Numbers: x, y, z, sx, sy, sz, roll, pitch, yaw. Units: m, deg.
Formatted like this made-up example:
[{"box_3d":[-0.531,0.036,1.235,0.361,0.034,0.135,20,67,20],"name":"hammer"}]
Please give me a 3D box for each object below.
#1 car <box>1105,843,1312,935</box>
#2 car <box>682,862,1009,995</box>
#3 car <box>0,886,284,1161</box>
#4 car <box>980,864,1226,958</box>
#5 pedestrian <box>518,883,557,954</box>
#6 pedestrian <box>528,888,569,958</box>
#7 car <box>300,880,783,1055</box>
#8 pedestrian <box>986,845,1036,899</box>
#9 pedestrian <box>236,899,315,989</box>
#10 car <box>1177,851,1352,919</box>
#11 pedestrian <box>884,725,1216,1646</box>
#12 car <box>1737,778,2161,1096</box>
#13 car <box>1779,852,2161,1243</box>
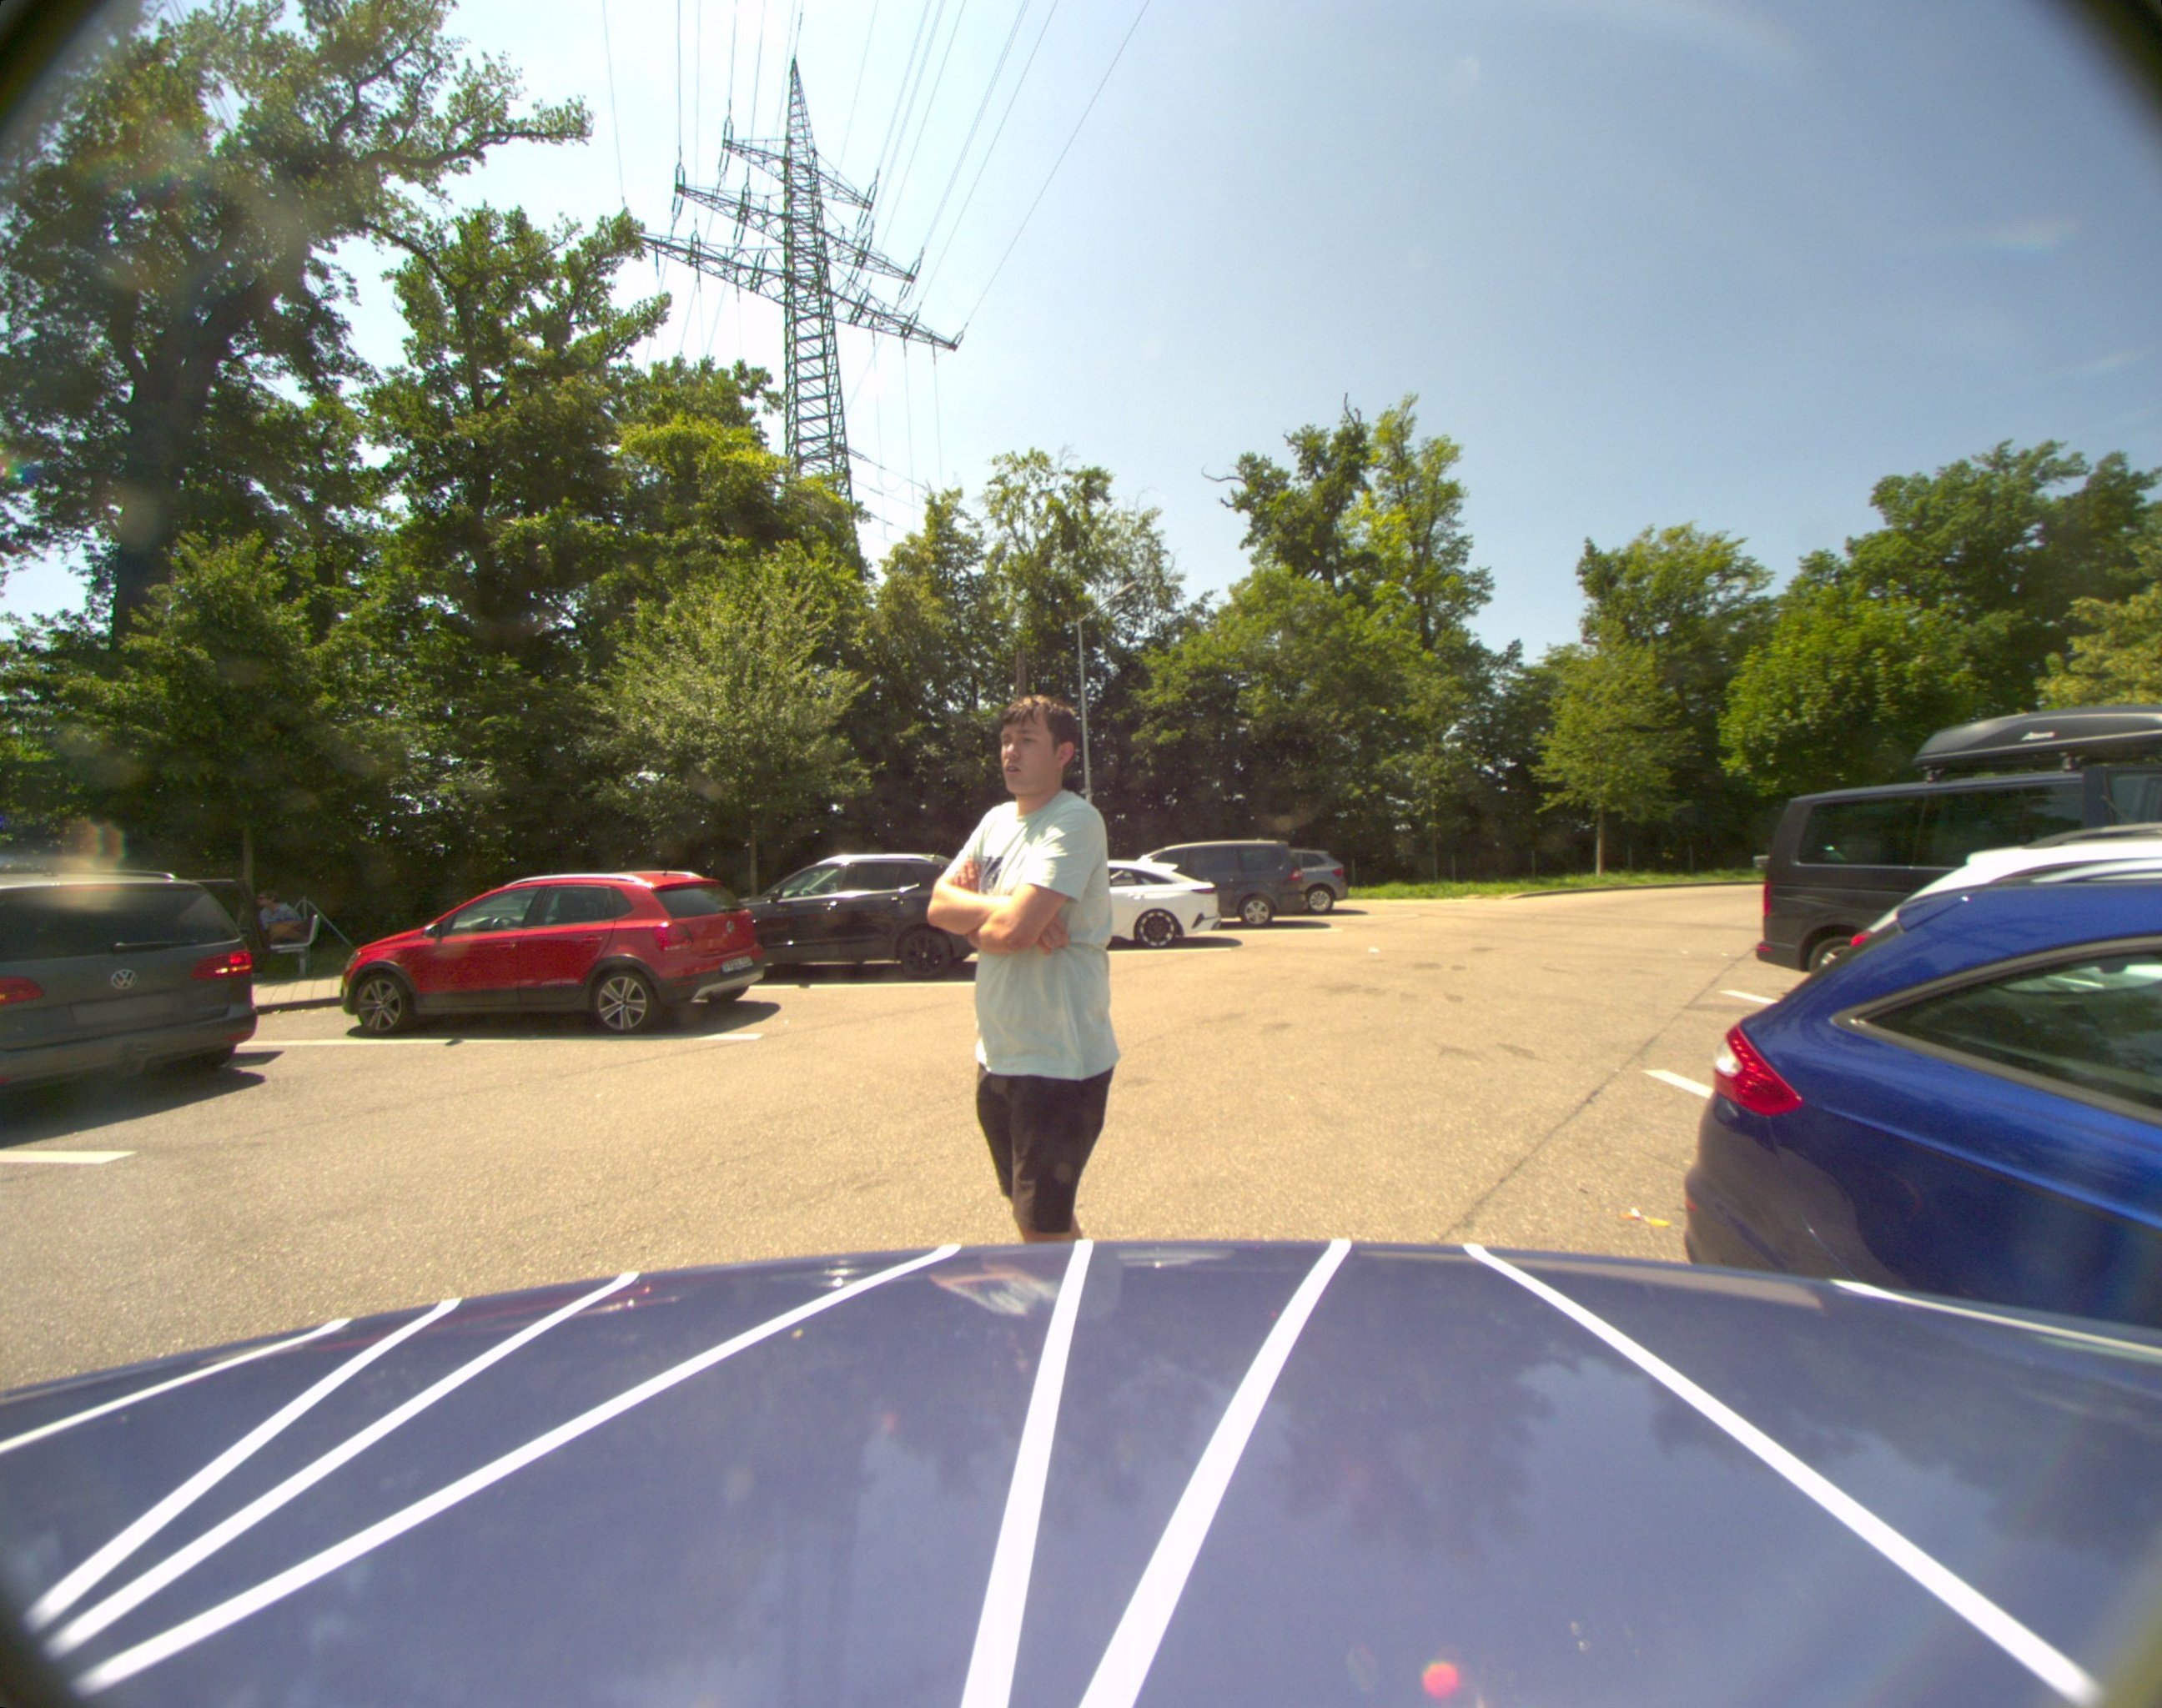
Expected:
[{"box_3d":[2.505,0.684,15.480,3.882,1.680,1.882,-1,0,5],"name":"car"},{"box_3d":[-3.012,0.941,10.280,3.806,1.538,1.759,-1,1,2],"name":"car"},{"box_3d":[-8.347,1.097,5.437,3.950,1.581,1.753,-1,1,11],"name":"car"},{"box_3d":[0.403,0.910,12.730,3.805,1.359,1.803,-1,1,5],"name":"car"},{"box_3d":[-10.958,1.284,15.329,0.490,1.367,0.506,-2,0,41],"name":"pedestrian"},{"box_3d":[-10.173,1.301,14.523,0.490,1.291,0.506,-2,0,41],"name":"pedestrian"},{"box_3d":[-5.246,1.066,7.653,3.804,1.449,1.637,-1,1,7],"name":"car"},{"box_3d":[-1.725,0.445,18.871,0.890,1.292,0.865,-2,0,23],"name":"pedestrian"},{"box_3d":[-11.763,1.297,11.099,0.680,1.211,0.675,-4,-2,36],"name":"pedestrian"},{"box_3d":[4.252,0.711,18.104,3.805,1.468,1.743,-1,1,5],"name":"car"},{"box_3d":[-0.140,0.666,1.981,0.634,1.857,0.747,-2,0,-17],"name":"pedestrian"},{"box_3d":[7.302,0.458,5.013,2.048,1.850,4.430,-2,-1,-1],"name":"car"},{"box_3d":[4.775,0.703,2.416,1.607,1.405,3.743,-2,-1,-1],"name":"car"}]
